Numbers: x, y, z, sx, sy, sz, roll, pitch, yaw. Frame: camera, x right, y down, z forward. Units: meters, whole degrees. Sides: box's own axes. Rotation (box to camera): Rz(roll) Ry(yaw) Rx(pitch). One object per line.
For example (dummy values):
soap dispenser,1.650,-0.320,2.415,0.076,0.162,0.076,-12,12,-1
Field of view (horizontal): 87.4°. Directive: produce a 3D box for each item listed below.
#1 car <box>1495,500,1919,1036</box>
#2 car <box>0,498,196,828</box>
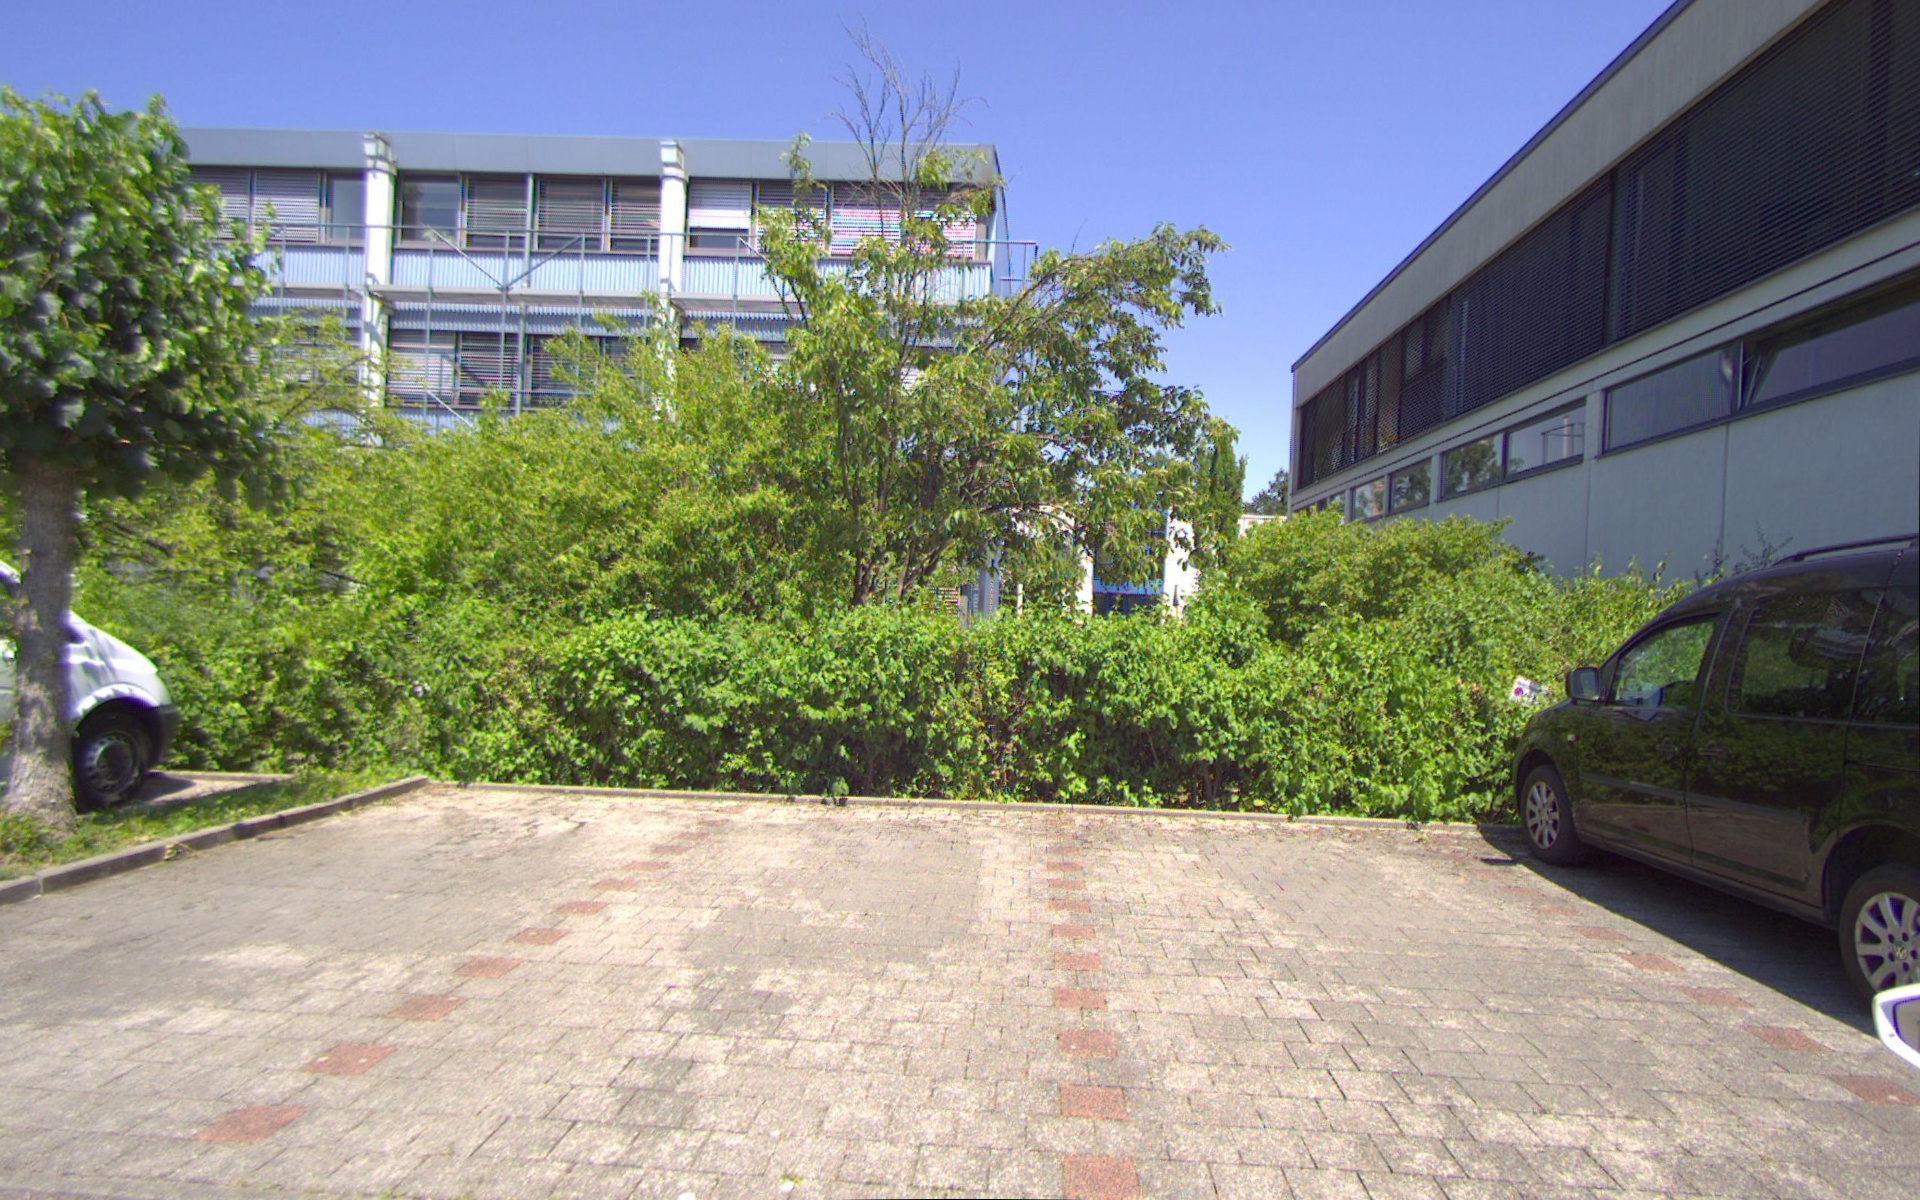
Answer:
car,4.364,0.628,4.839,1.645,1.909,4.073,1,0,5
car,-6.555,0.340,4.931,1.793,1.931,4.737,1,0,3
